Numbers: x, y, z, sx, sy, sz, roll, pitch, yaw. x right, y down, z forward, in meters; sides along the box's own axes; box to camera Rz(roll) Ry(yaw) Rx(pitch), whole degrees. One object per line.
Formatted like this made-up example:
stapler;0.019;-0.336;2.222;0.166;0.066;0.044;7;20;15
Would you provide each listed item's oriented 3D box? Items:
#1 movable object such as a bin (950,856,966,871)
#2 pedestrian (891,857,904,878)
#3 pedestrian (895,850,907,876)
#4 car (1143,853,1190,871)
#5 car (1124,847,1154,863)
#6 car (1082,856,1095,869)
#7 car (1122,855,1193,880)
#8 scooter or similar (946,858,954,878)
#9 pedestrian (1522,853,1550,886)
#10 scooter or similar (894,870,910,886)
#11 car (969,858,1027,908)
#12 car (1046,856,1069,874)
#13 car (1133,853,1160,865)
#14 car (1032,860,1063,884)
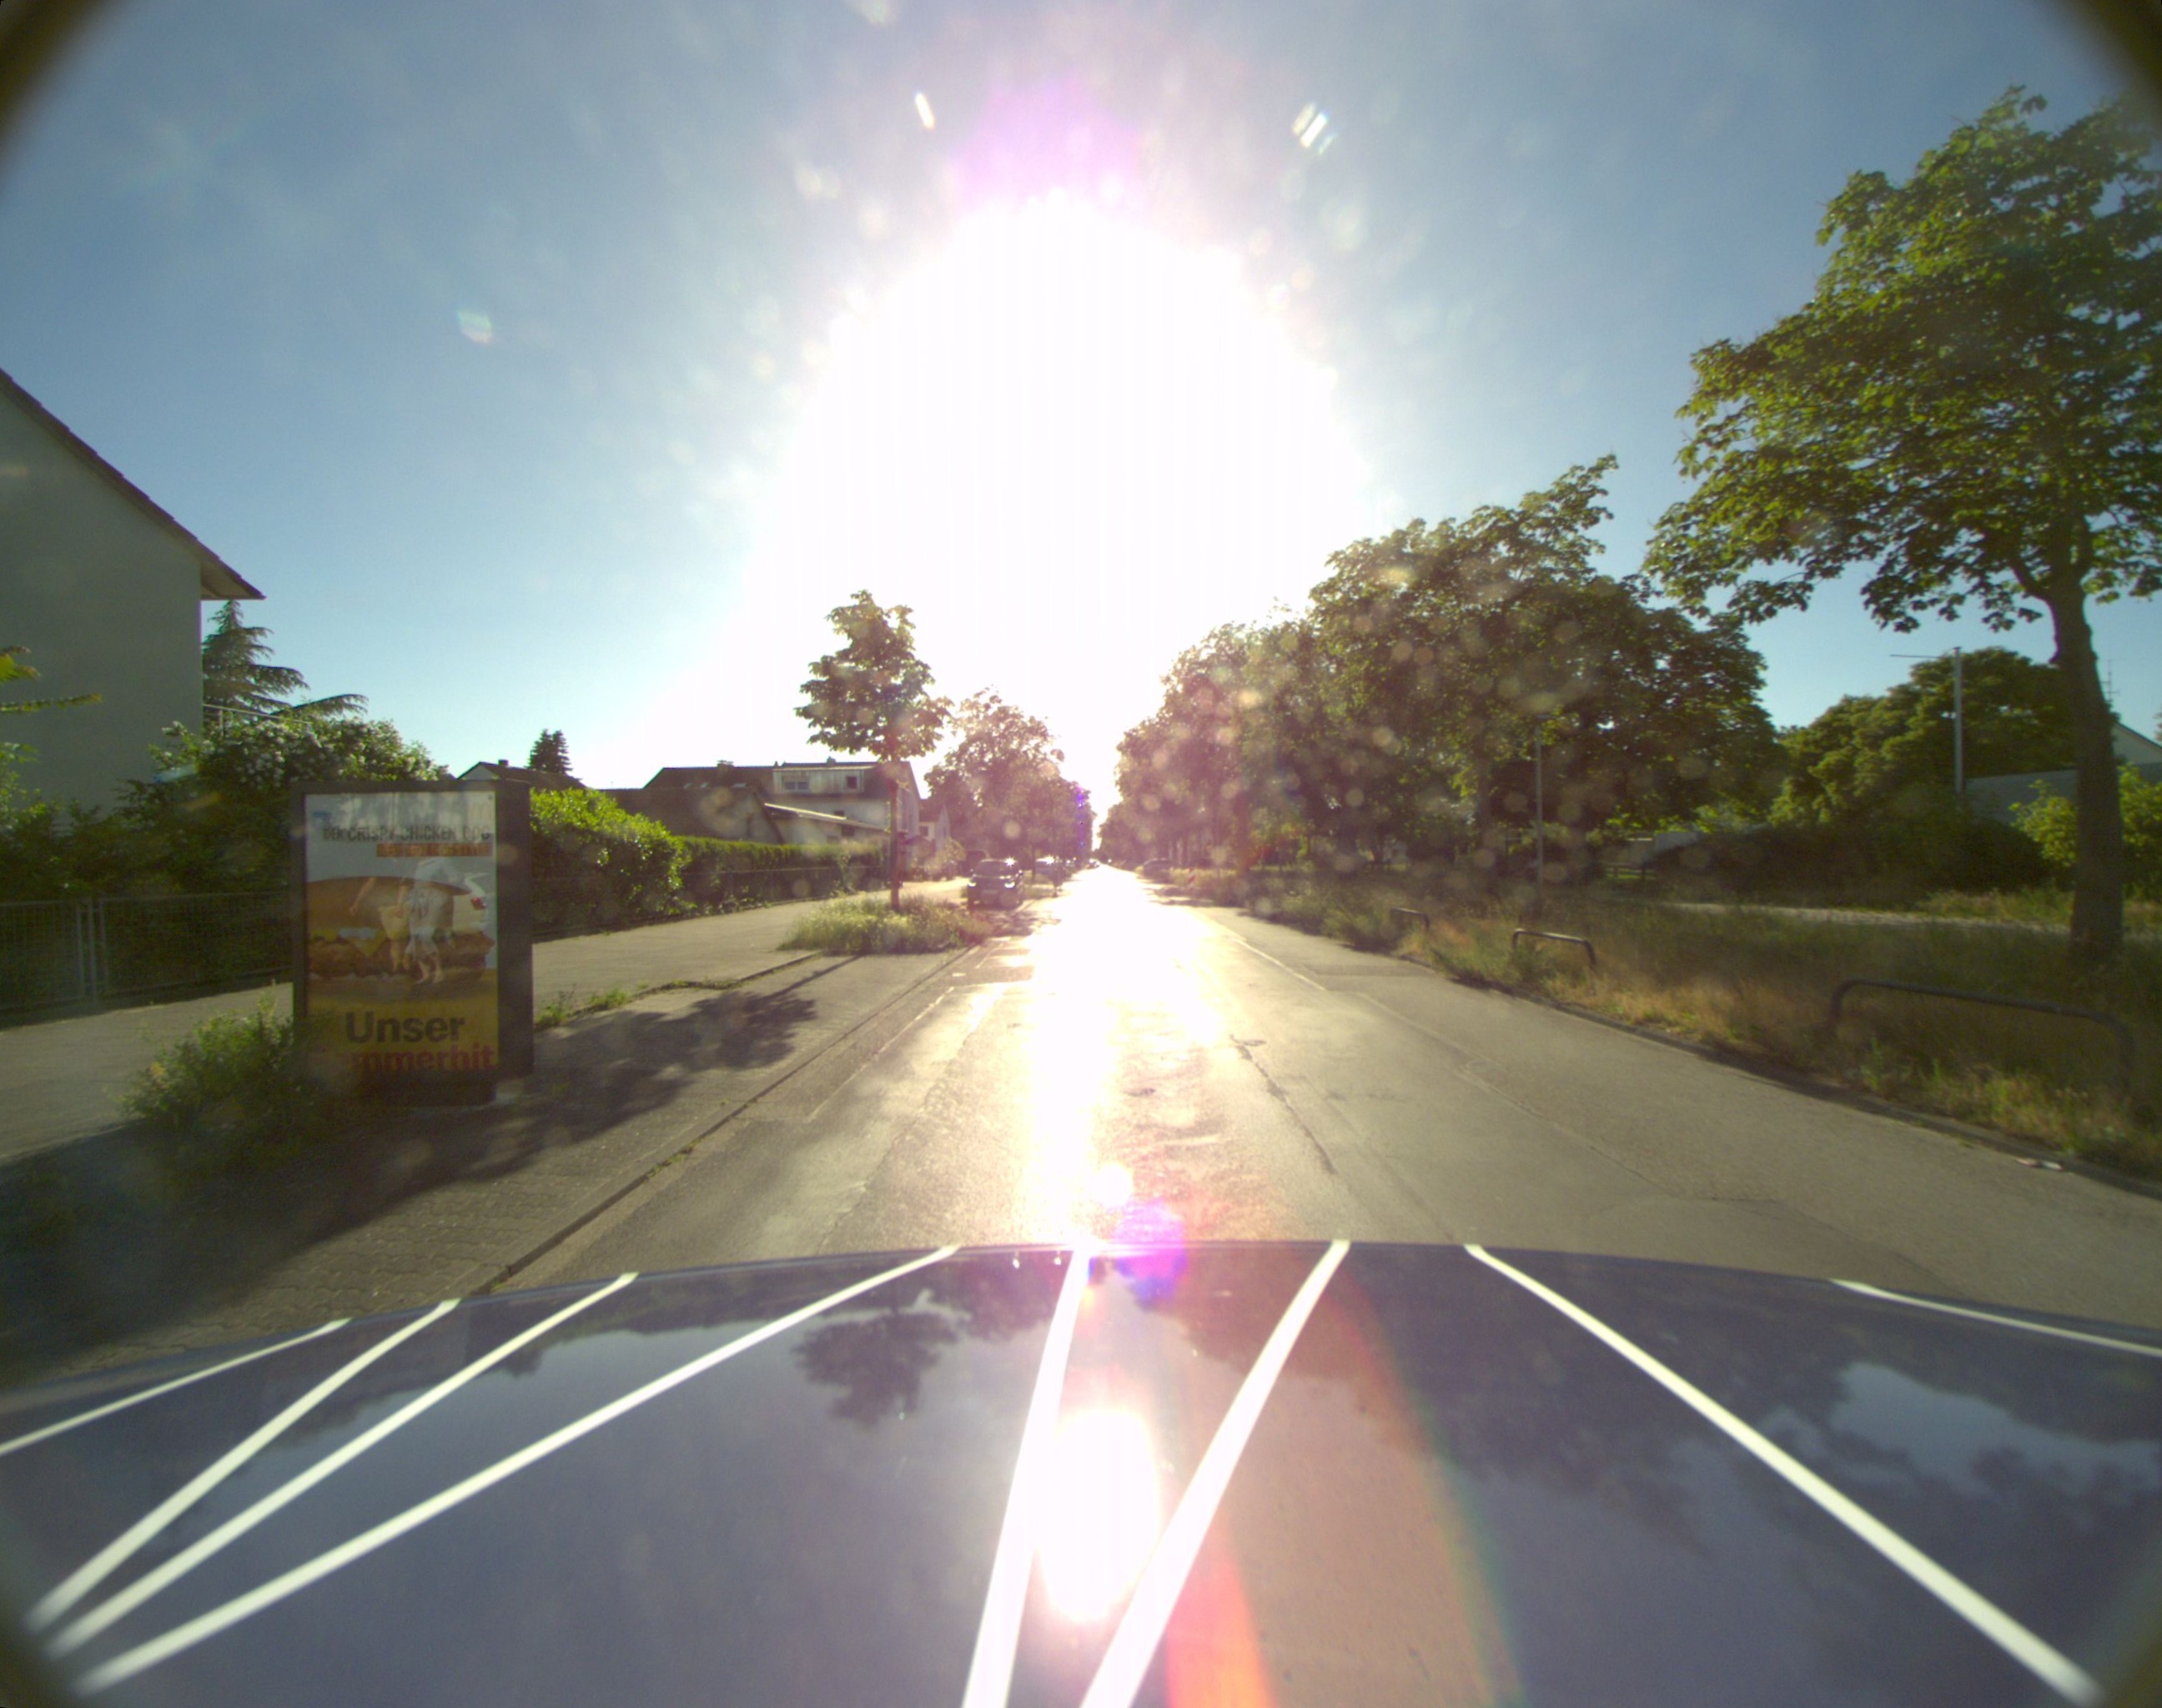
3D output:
movable object such as a bin;-10.349;0.791;63.822;1.172;1.286;0.928;1;1;0
pedestrian;-11.576;0.841;47.946;0.641;1.314;0.574;-3;1;1
pedestrian;-13.111;0.649;55.378;0.672;1.798;0.735;-2;1;1
car;7.971;0.716;71.201;4.203;1.552;2.000;-2;0;2
car;10.270;0.145;134.018;5.121;2.597;2.125;-2;1;4
car;1.243;1.442;125.834;1.998;2.002;4.000;-2;1;1
car;5.096;0.891;51.262;4.615;1.552;2.000;-2;0;2
scooter or similar;-8.715;0.928;50.627;0.503;1.288;0.461;0;1;-3
pedestrian;16.469;0.558;27.488;0.639;1.151;0.521;-4;1;0
scooter or similar;-8.934;1.209;37.913;0.450;0.712;1.228;3;1;0
car;-2.815;0.944;26.388;1.497;1.565;3.600;1;0;1
car;-1.949;0.949;63.942;1.733;1.473;3.858;0;0;1
car;10.062;0.722;117.429;3.997;1.740;1.890;-2;1;0
car;-2.318;1.253;53.527;1.732;1.568;3.858;0;0;4
